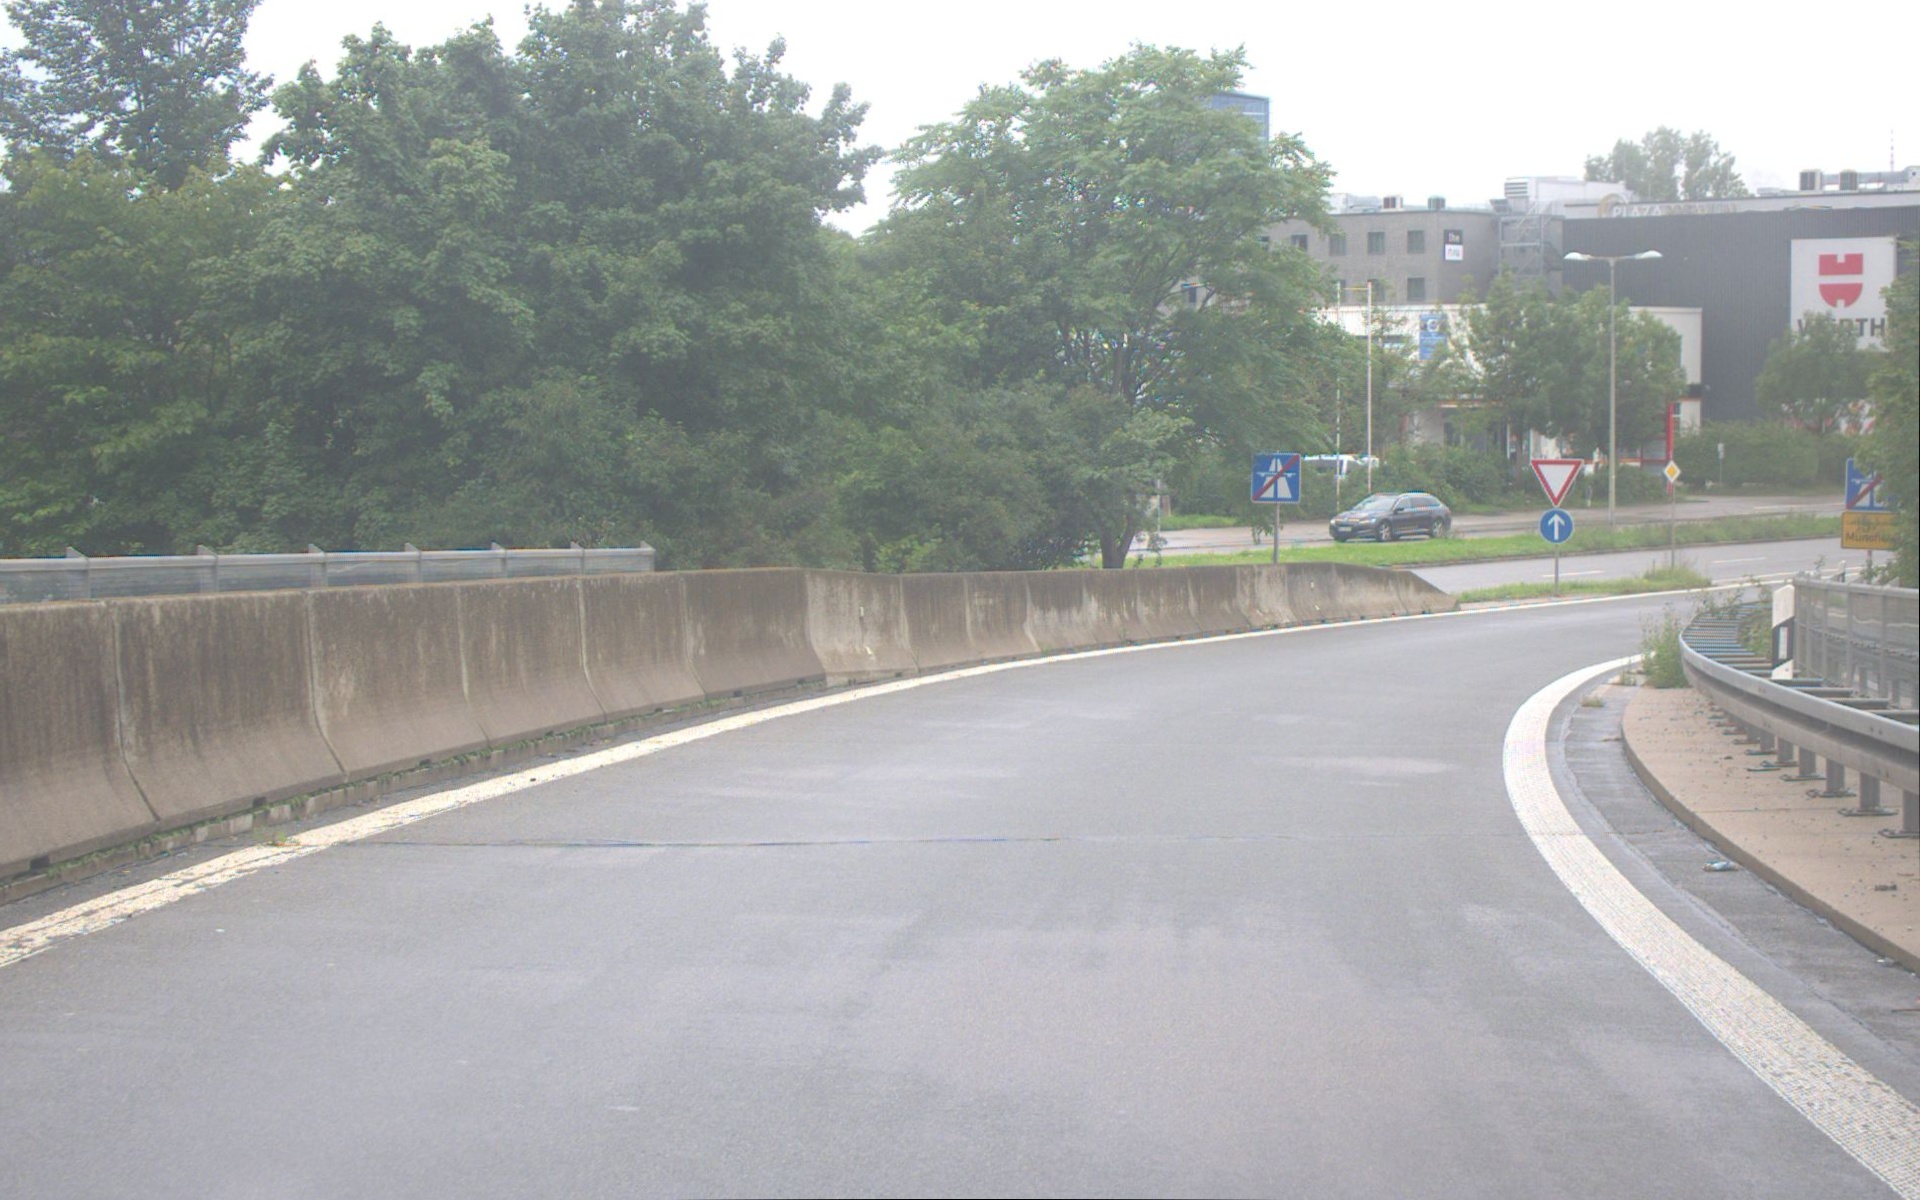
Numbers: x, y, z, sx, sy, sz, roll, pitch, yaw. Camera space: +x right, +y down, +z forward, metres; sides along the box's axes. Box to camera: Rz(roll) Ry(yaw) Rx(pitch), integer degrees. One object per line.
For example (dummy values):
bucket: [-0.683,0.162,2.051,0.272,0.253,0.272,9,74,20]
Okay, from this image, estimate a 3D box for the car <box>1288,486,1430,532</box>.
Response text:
car: [12.562,-2.888,108.116,1.974,1.392,4.805,2,3,43]
